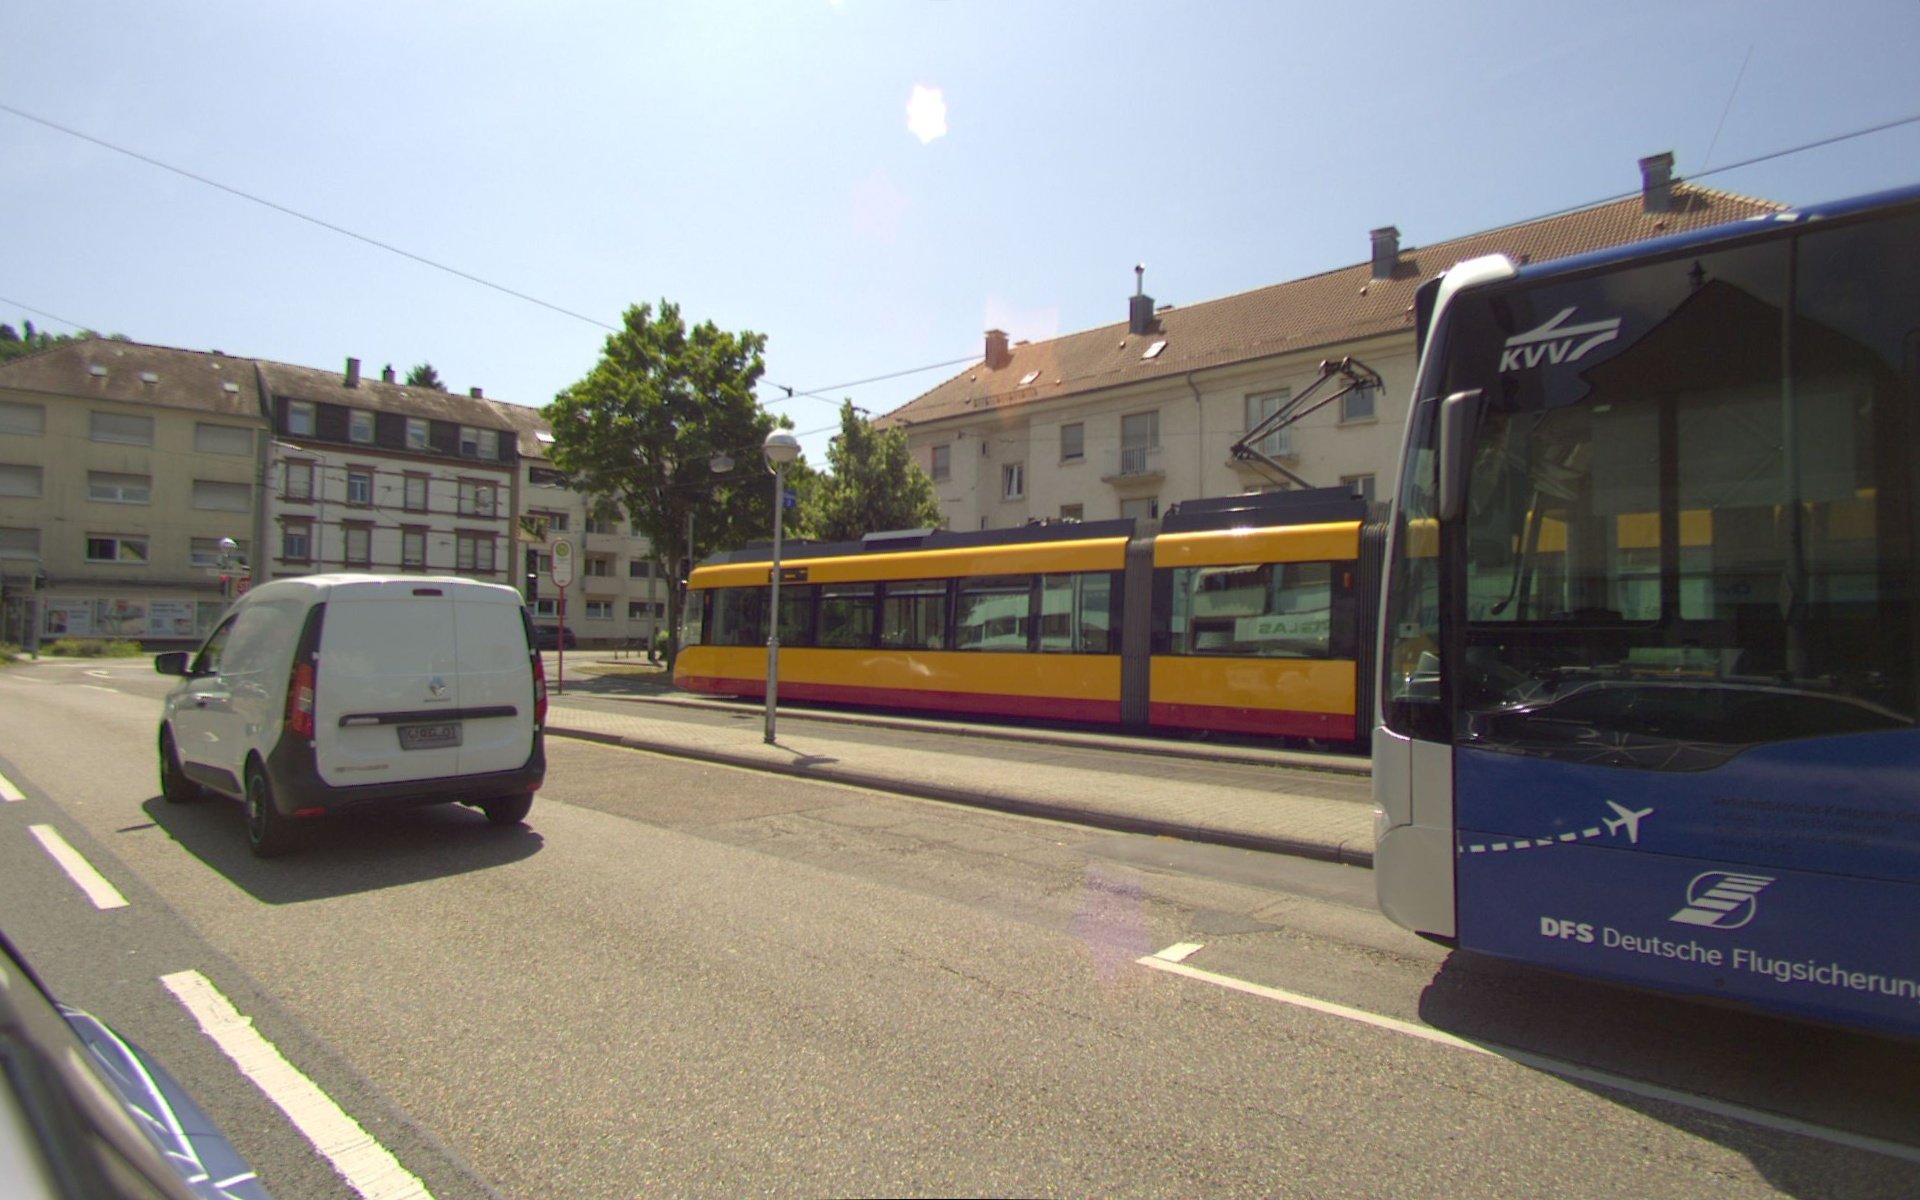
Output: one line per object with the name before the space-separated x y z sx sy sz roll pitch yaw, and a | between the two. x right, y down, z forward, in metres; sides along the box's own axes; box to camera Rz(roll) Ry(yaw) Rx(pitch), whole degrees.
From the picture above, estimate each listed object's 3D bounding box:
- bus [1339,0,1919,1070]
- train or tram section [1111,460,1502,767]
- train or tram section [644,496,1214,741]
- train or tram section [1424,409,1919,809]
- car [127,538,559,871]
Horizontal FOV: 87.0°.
bus | 6.899 -0.419 0.997 12.035 3.453 2.877 0 0 41
train or tram section | 4.793 0.251 14.211 4.416 3.522 2.932 -1 -4 42
train or tram section | -1.508 0.373 19.902 12.709 3.522 2.932 -1 -1 42
train or tram section | 11.051 0.044 8.550 12.653 3.522 2.932 -1 -1 42
car | -5.033 0.590 7.913 4.713 1.864 1.685 0 0 43
